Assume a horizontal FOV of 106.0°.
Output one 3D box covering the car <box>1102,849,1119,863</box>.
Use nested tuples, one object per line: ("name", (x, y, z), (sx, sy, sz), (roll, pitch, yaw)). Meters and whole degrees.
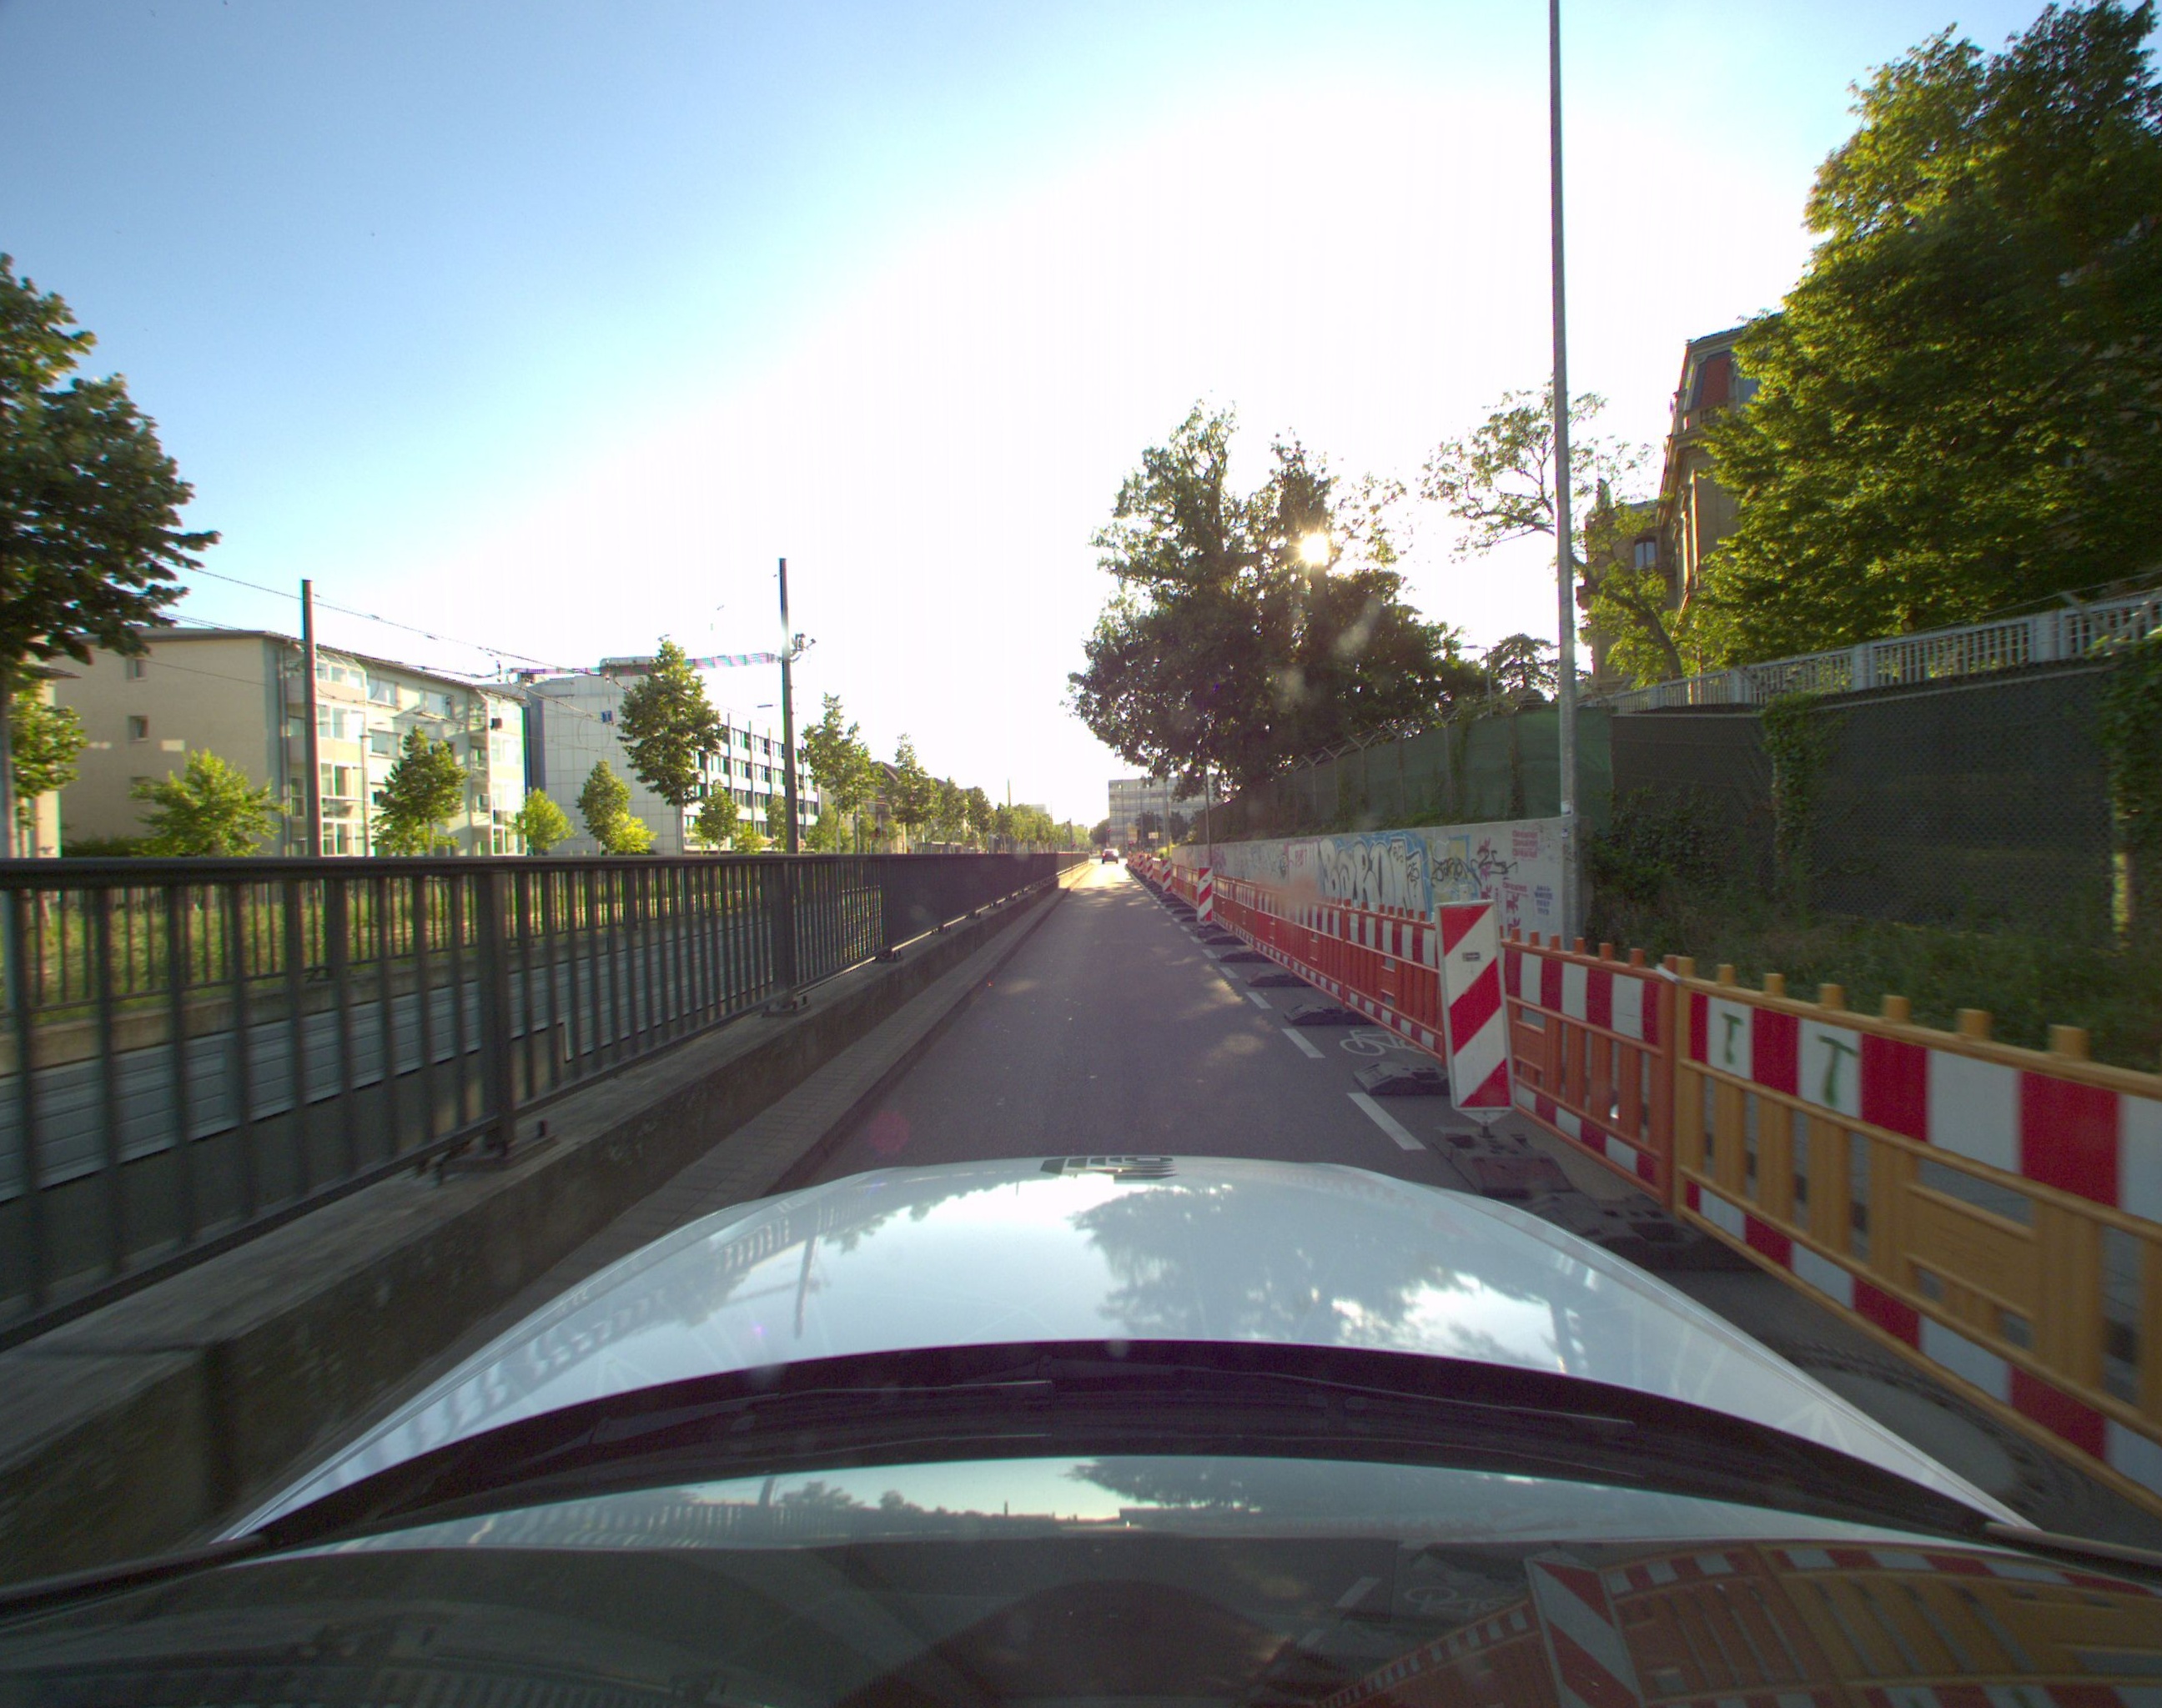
("car", (3.629, 0.204, 98.881), (1.997, 1.659, 4.003), (0, 0, 3))

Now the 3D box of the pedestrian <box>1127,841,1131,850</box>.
("pedestrian", (11.231, -2.019, 192.090), (0.887, 2.112, 0.719), (-2, 1, 6))

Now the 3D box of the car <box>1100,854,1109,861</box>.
("car", (5.911, 0.846, 203.567), (1.987, 1.618, 4.000), (-2, 0, 0))
